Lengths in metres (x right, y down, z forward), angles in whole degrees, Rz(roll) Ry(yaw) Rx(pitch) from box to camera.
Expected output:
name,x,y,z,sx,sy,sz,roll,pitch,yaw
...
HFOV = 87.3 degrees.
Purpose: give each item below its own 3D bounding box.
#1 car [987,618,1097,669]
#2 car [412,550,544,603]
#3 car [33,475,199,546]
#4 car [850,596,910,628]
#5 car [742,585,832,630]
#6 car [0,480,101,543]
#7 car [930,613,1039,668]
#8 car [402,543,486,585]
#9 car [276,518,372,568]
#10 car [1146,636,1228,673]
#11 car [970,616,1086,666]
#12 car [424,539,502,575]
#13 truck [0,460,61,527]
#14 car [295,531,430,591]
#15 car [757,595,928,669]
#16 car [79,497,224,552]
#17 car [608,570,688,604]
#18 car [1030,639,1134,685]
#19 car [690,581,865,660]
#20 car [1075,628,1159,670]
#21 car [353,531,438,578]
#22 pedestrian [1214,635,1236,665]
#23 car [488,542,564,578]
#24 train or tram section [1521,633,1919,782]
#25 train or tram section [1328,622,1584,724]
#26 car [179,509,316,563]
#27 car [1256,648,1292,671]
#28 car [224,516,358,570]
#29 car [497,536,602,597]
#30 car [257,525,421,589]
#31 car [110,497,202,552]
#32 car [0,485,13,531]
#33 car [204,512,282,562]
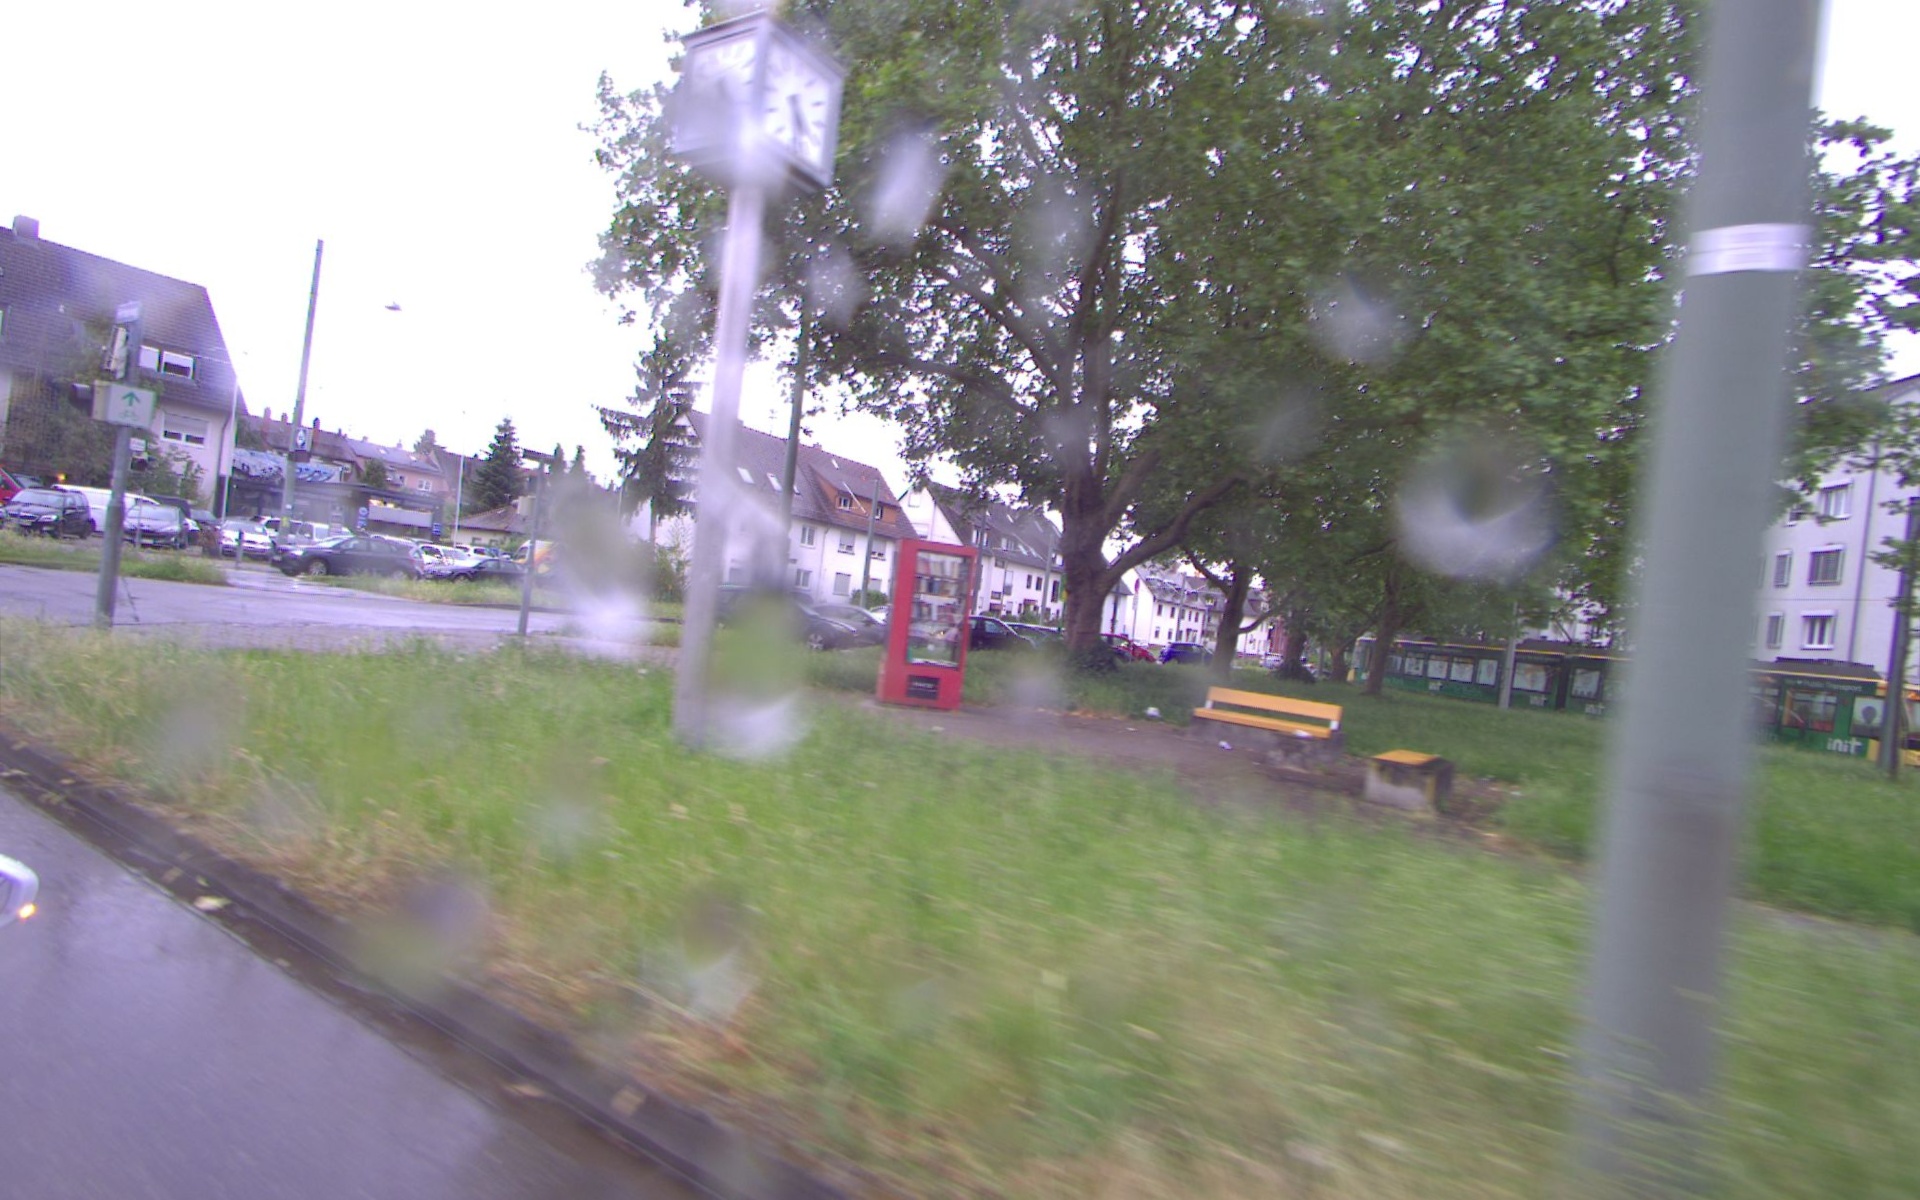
name,x,y,z,sx,sy,sz,roll,pitch,yaw
car,3.213,1.737,39.912,3.928,1.571,1.961,6,-2,-5
car,-18.991,-0.876,39.845,1.694,1.353,4.385,7,-3,32
car,-32.446,-3.407,38.792,1.968,2.038,4.436,6,-1,33
car,-5.005,0.782,63.357,1.579,1.439,3.940,7,-3,31
car,-8.764,0.423,51.425,1.966,1.623,4.571,7,-3,29
car,-30.444,-2.906,33.297,1.975,1.738,3.974,7,0,-26
car,0.801,1.378,34.605,3.453,1.523,1.754,6,-2,-4
car,-23.663,-1.652,46.122,3.781,1.412,1.720,7,-2,35
car,-26.136,-2.361,41.333,3.809,1.598,1.803,7,0,33
car,12.563,3.019,55.870,3.926,1.502,1.999,6,1,0
car,2.477,1.522,37.179,3.927,1.518,1.824,4,-2,-6
car,-29.630,-2.527,60.123,1.759,1.599,4.450,6,-1,10
truck,-37.680,-4.287,37.409,6.055,2.299,1.979,7,-1,-40
car,-21.280,-1.362,35.947,1.694,1.521,3.641,7,-3,30
car,-3.315,0.905,28.888,4.463,1.494,1.805,7,0,5
car,-35.038,-3.247,43.706,1.968,1.708,4.436,6,-1,33
car,-17.330,-0.689,56.004,1.966,1.586,3.883,7,3,31
car,5.118,2.599,42.640,4.046,1.498,1.866,6,-1,0
car,-4.705,0.535,26.363,4.099,1.494,1.804,7,0,1
car,7.035,2.184,45.402,3.530,1.498,1.638,5,0,5
car,-24.651,-1.998,43.917,3.560,1.591,1.720,7,-2,35
pedestrian,16.487,3.108,62.686,1.028,1.735,1.081,6,0,9
car,-25.106,-2.268,58.375,1.829,1.599,4.403,6,-1,10
train or tram section,27.183,3.483,36.368,2.671,3.631,14.706,8,-1,-12
train or tram section,24.166,3.331,50.772,2.671,3.631,14.706,8,-1,-12
car,-31.359,-2.800,44.406,1.968,1.708,4.436,6,-1,33
car,25.971,4.929,83.238,1.928,1.571,3.995,5,-3,30
car,-29.011,-2.441,43.755,1.732,1.708,4.436,6,-1,33
car,-21.200,-1.758,51.914,5.063,2.433,2.150,7,-2,31
car,-19.976,-1.343,32.518,1.966,1.494,3.994,7,0,30
car,-28.701,-2.636,36.033,1.815,1.521,4.028,9,-3,-30
car,-35.775,-3.472,34.928,3.947,1.617,1.979,7,-1,-39
car,-27.292,-2.411,38.233,1.823,1.521,4.011,10,-3,-42
